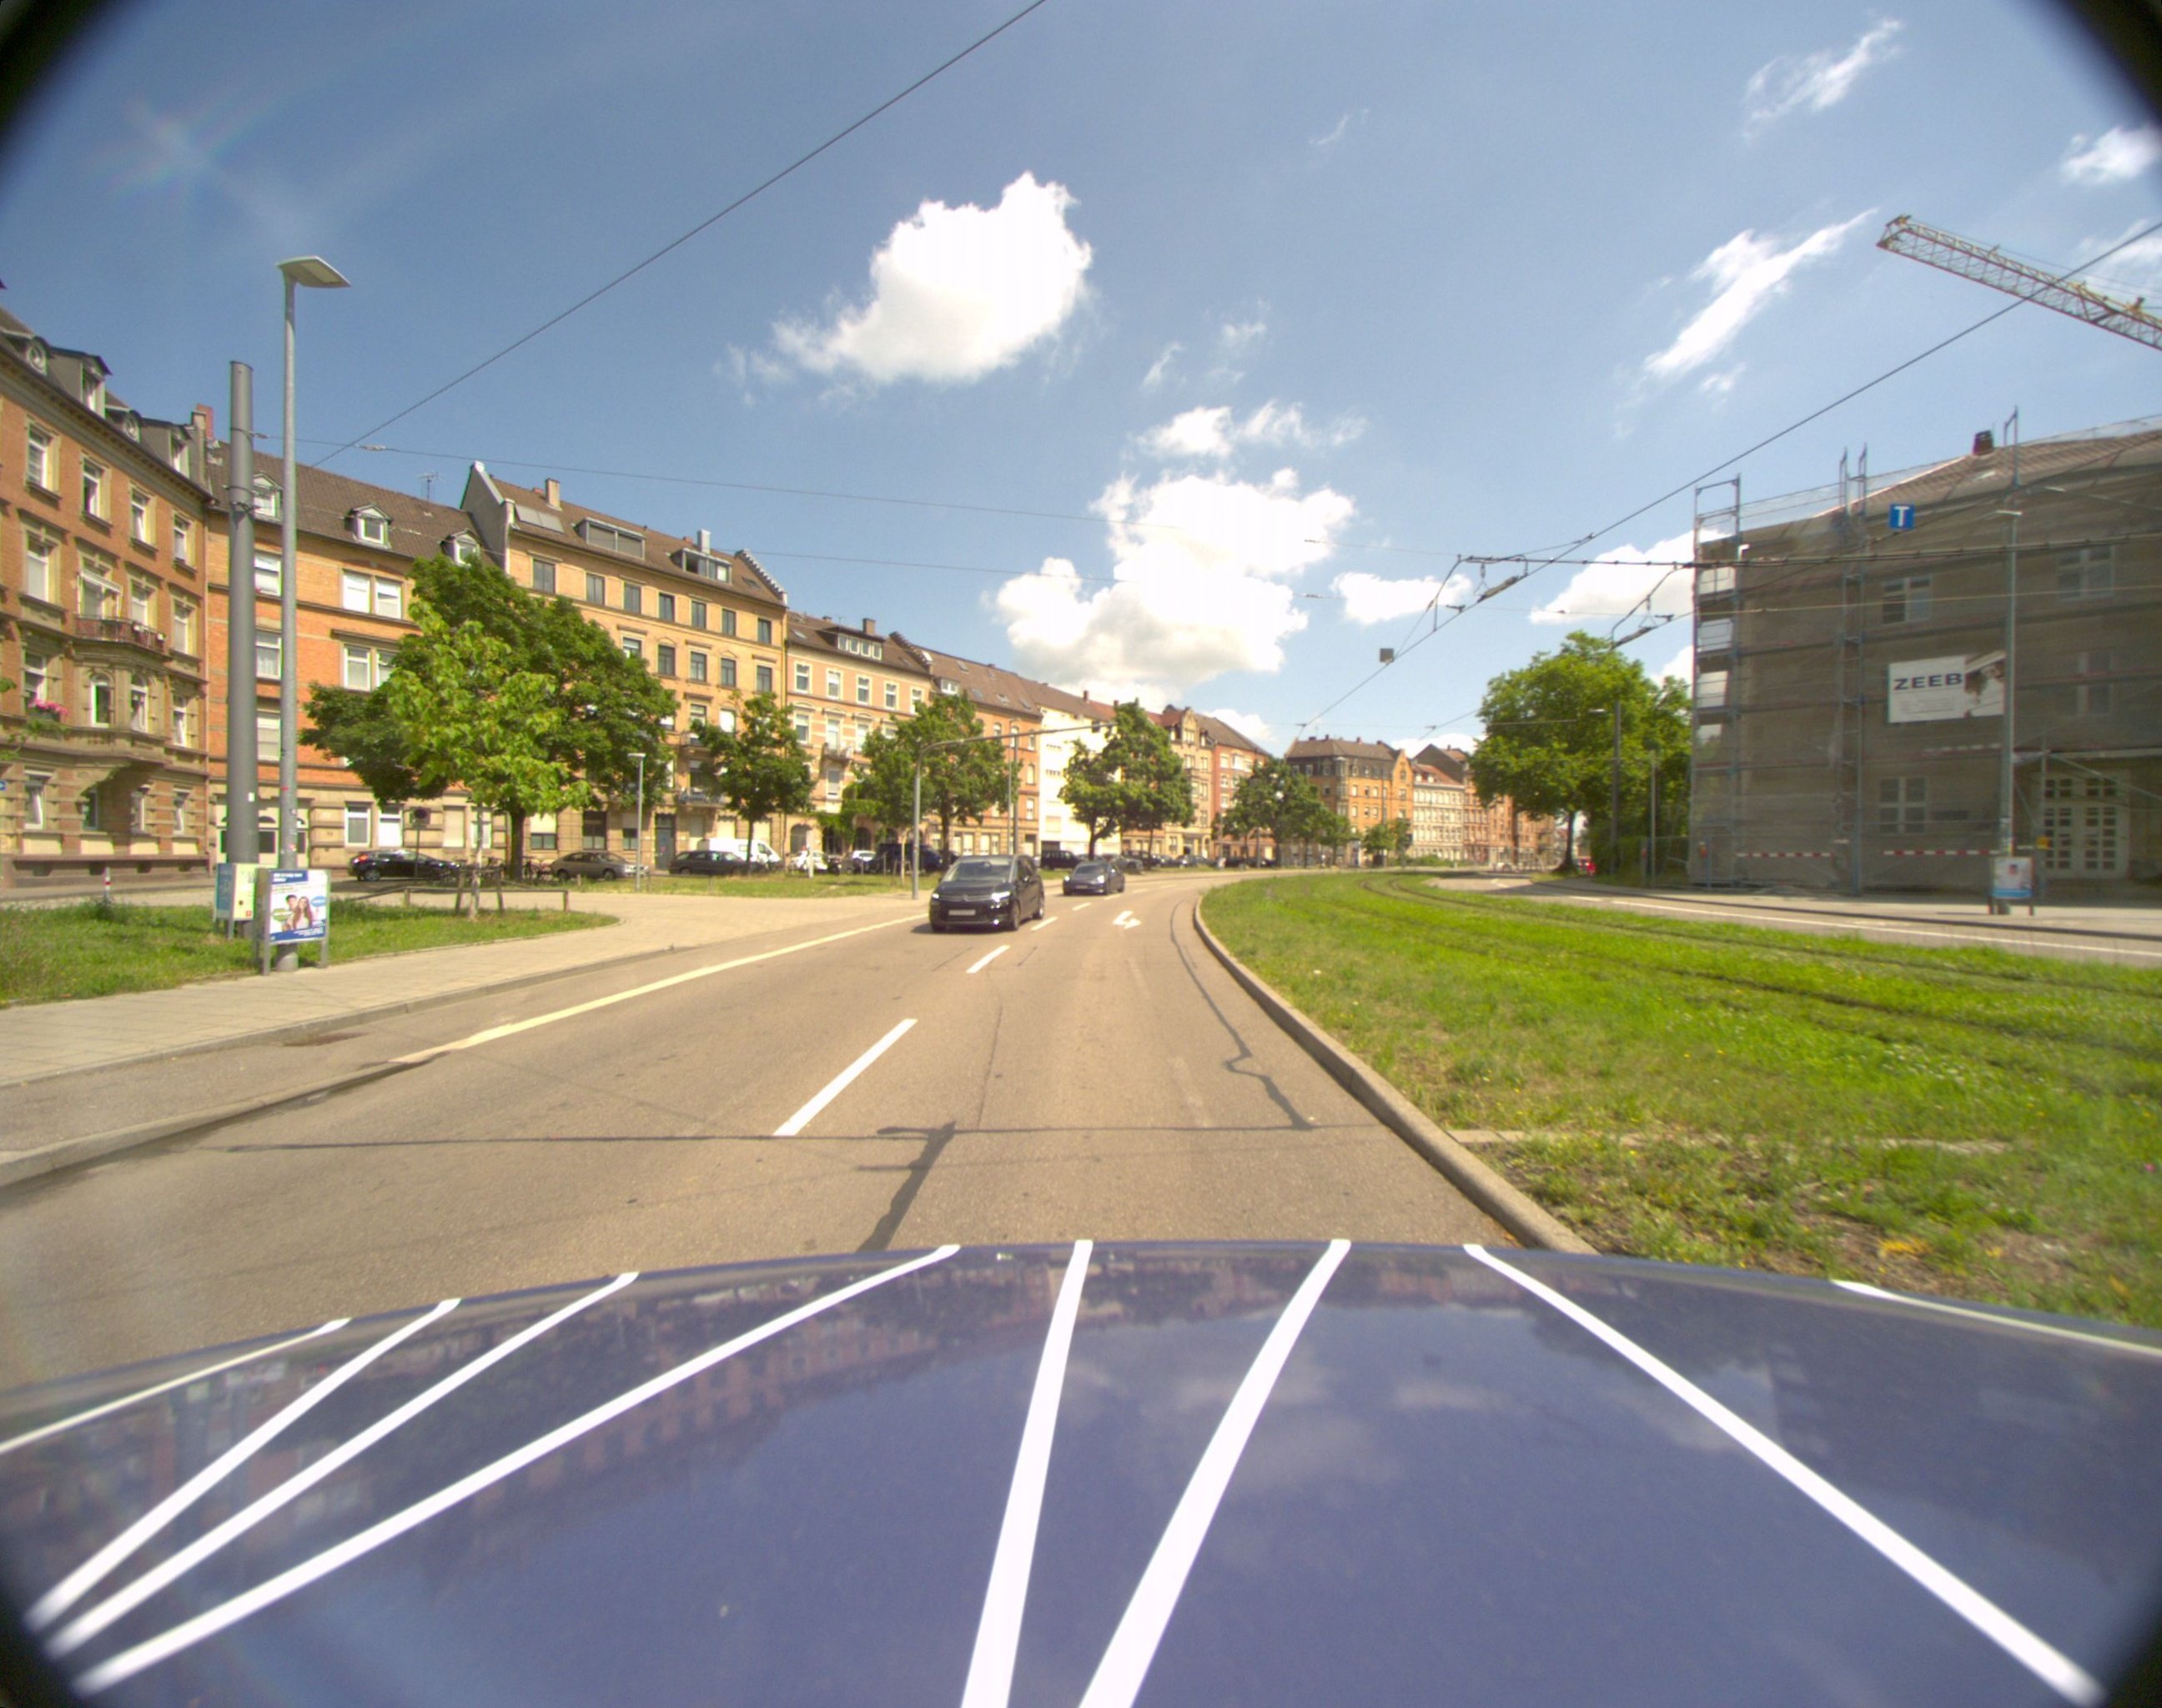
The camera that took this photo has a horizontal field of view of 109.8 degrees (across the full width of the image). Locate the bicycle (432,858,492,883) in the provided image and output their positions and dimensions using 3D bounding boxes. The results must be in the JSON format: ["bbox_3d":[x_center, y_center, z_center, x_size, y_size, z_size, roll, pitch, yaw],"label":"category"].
[{"bbox_3d":[-24.382,0.650,29.918,2.387,0.963,0.544,-1,0,16],"label":"bicycle"}]

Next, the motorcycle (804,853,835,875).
[{"bbox_3d":[-13.606,0.509,39.517,1.783,1.160,0.641,0,1,38],"label":"motorcycle"}]

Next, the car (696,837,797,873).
[{"bbox_3d":[-20.975,0.048,47.893,2.111,2.166,5.405,-1,0,40],"label":"car"}]

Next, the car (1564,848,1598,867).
[{"bbox_3d":[39.317,0.309,59.679,1.927,1.360,4.327,-2,-2,37],"label":"car"}]

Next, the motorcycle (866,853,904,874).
[{"bbox_3d":[-10.782,0.520,41.770,1.910,1.160,0.638,0,1,-39],"label":"motorcycle"}]

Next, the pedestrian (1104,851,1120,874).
[{"bbox_3d":[2.102,0.581,52.034,0.700,1.583,0.907,0,1,38],"label":"pedestrian"}]

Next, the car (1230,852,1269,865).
[{"bbox_3d":[18.672,0.457,84.203,3.995,1.372,1.963,-1,0,6],"label":"car"}]

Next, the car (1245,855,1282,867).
[{"bbox_3d":[20.872,0.770,86.864,3.992,1.346,1.964,-1,0,17],"label":"car"}]

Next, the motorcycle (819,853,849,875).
[{"bbox_3d":[-13.077,0.529,40.181,1.783,1.160,0.641,0,1,38],"label":"motorcycle"}]

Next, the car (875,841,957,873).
[{"bbox_3d":[-10.361,0.193,47.928,4.623,1.916,1.918,-1,0,9],"label":"car"}]

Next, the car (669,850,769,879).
[{"bbox_3d":[-18.147,0.498,38.129,4.252,1.419,1.807,0,0,10],"label":"car"}]

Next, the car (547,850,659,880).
[{"bbox_3d":[-21.108,0.496,33.605,4.157,1.237,1.865,-1,0,15],"label":"car"}]

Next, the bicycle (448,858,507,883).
[{"bbox_3d":[-24.215,0.650,30.481,2.387,0.963,0.544,-1,0,16],"label":"bicycle"}]

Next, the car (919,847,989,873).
[{"bbox_3d":[-8.398,0.386,50.311,4.167,1.646,1.918,-1,0,13],"label":"car"}]

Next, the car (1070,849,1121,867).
[{"bbox_3d":[1.247,0.301,62.657,4.081,1.397,1.853,-1,0,4],"label":"car"}]

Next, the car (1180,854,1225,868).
[{"bbox_3d":[12.162,0.693,76.239,4.265,1.372,1.853,-1,0,3],"label":"car"}]

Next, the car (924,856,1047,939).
[{"bbox_3d":[-1.985,0.868,17.106,1.874,1.610,4.191,-1,0,5],"label":"car"}]

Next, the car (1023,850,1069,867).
[{"bbox_3d":[-3.215,0.398,70.329,1.833,1.483,4.236,-1,0,40],"label":"car"}]

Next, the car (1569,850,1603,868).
[{"bbox_3d":[42.691,0.453,64.177,1.927,1.411,4.059,-2,-2,39],"label":"car"}]

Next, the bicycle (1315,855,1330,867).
[{"bbox_3d":[26.094,0.738,82.183,0.693,1.236,1.843,8,4,42],"label":"bicycle"}]

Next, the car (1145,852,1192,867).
[{"bbox_3d":[8.184,0.535,71.209,4.265,1.372,1.853,-1,0,3],"label":"car"}]

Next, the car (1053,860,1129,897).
[{"bbox_3d":[0.513,0.961,31.633,1.912,1.385,4.319,-1,0,19],"label":"car"}]

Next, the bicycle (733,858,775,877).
[{"bbox_3d":[-15.490,0.635,36.042,0.542,0.896,1.825,-1,0,35],"label":"bicycle"}]

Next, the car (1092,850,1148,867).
[{"bbox_3d":[3.394,0.347,65.143,4.688,1.372,1.853,-1,0,5],"label":"car"}]

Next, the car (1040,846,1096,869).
[{"bbox_3d":[-0.999,0.294,60.529,4.144,1.730,1.854,-1,0,9],"label":"car"}]

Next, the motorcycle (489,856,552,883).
[{"bbox_3d":[-23.655,0.655,32.085,2.387,1.119,0.814,-1,0,16],"label":"motorcycle"}]

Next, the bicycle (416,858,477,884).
[{"bbox_3d":[-24.530,0.649,29.364,2.387,0.963,0.544,-1,0,16],"label":"bicycle"}]

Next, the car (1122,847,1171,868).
[{"bbox_3d":[5.838,0.327,68.089,4.361,1.730,1.853,-1,0,3],"label":"car"}]

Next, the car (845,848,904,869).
[{"bbox_3d":[-15.068,0.347,55.584,1.659,1.483,3.862,-1,0,40],"label":"car"}]

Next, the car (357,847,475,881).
[{"bbox_3d":[-30.820,0.458,35.304,1.659,1.483,3.862,-1,0,40],"label":"car"}]

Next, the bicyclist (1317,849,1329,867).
[{"bbox_3d":[26.169,0.452,82.228,0.694,1.814,0.958,8,4,42],"label":"bicyclist"}]

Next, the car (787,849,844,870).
[{"bbox_3d":[-18.069,0.362,51.771,1.564,1.395,3.358,0,0,42],"label":"car"}]

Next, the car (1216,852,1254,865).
[{"bbox_3d":[16.629,0.499,82.022,3.993,1.372,1.963,-1,0,11],"label":"car"}]

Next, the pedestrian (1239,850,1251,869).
[{"bbox_3d":[15.020,0.499,69.692,0.700,1.695,1.046,1,3,38],"label":"pedestrian"}]
